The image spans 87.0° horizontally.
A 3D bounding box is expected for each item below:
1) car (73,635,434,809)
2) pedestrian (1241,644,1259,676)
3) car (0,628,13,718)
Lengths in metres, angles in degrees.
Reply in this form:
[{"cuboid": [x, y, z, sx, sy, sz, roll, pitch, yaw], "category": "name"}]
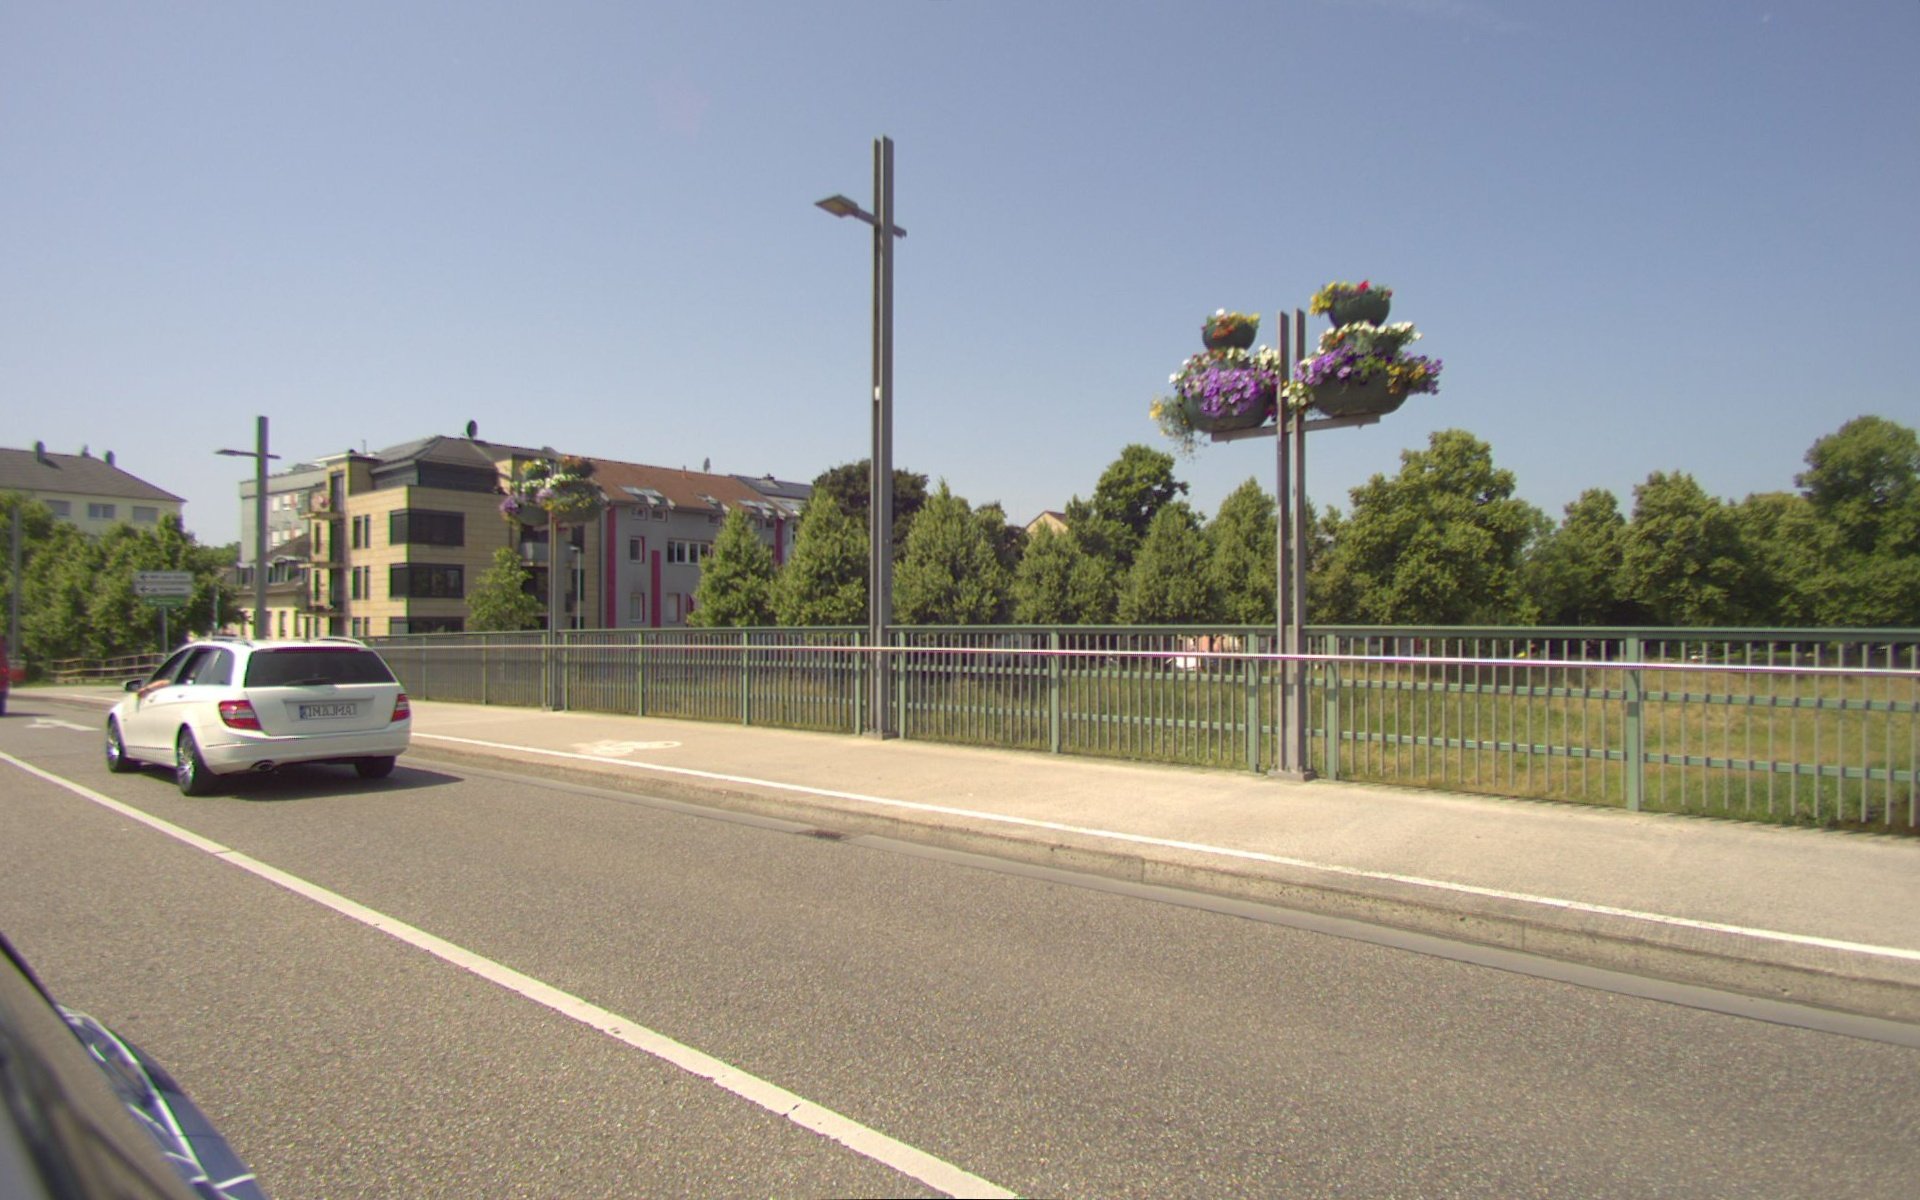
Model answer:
[{"cuboid": [-7.541, 1.088, 10.614, 4.708, 1.443, 1.826, -2, -3, 39], "category": "car"}, {"cuboid": [18.897, 3.890, 65.991, 0.881, 2.029, 0.717, -1, 0, 36], "category": "pedestrian"}, {"cuboid": [-21.306, 1.573, 20.910, 4.167, 1.790, 1.721, -5, -4, 35], "category": "car"}]
